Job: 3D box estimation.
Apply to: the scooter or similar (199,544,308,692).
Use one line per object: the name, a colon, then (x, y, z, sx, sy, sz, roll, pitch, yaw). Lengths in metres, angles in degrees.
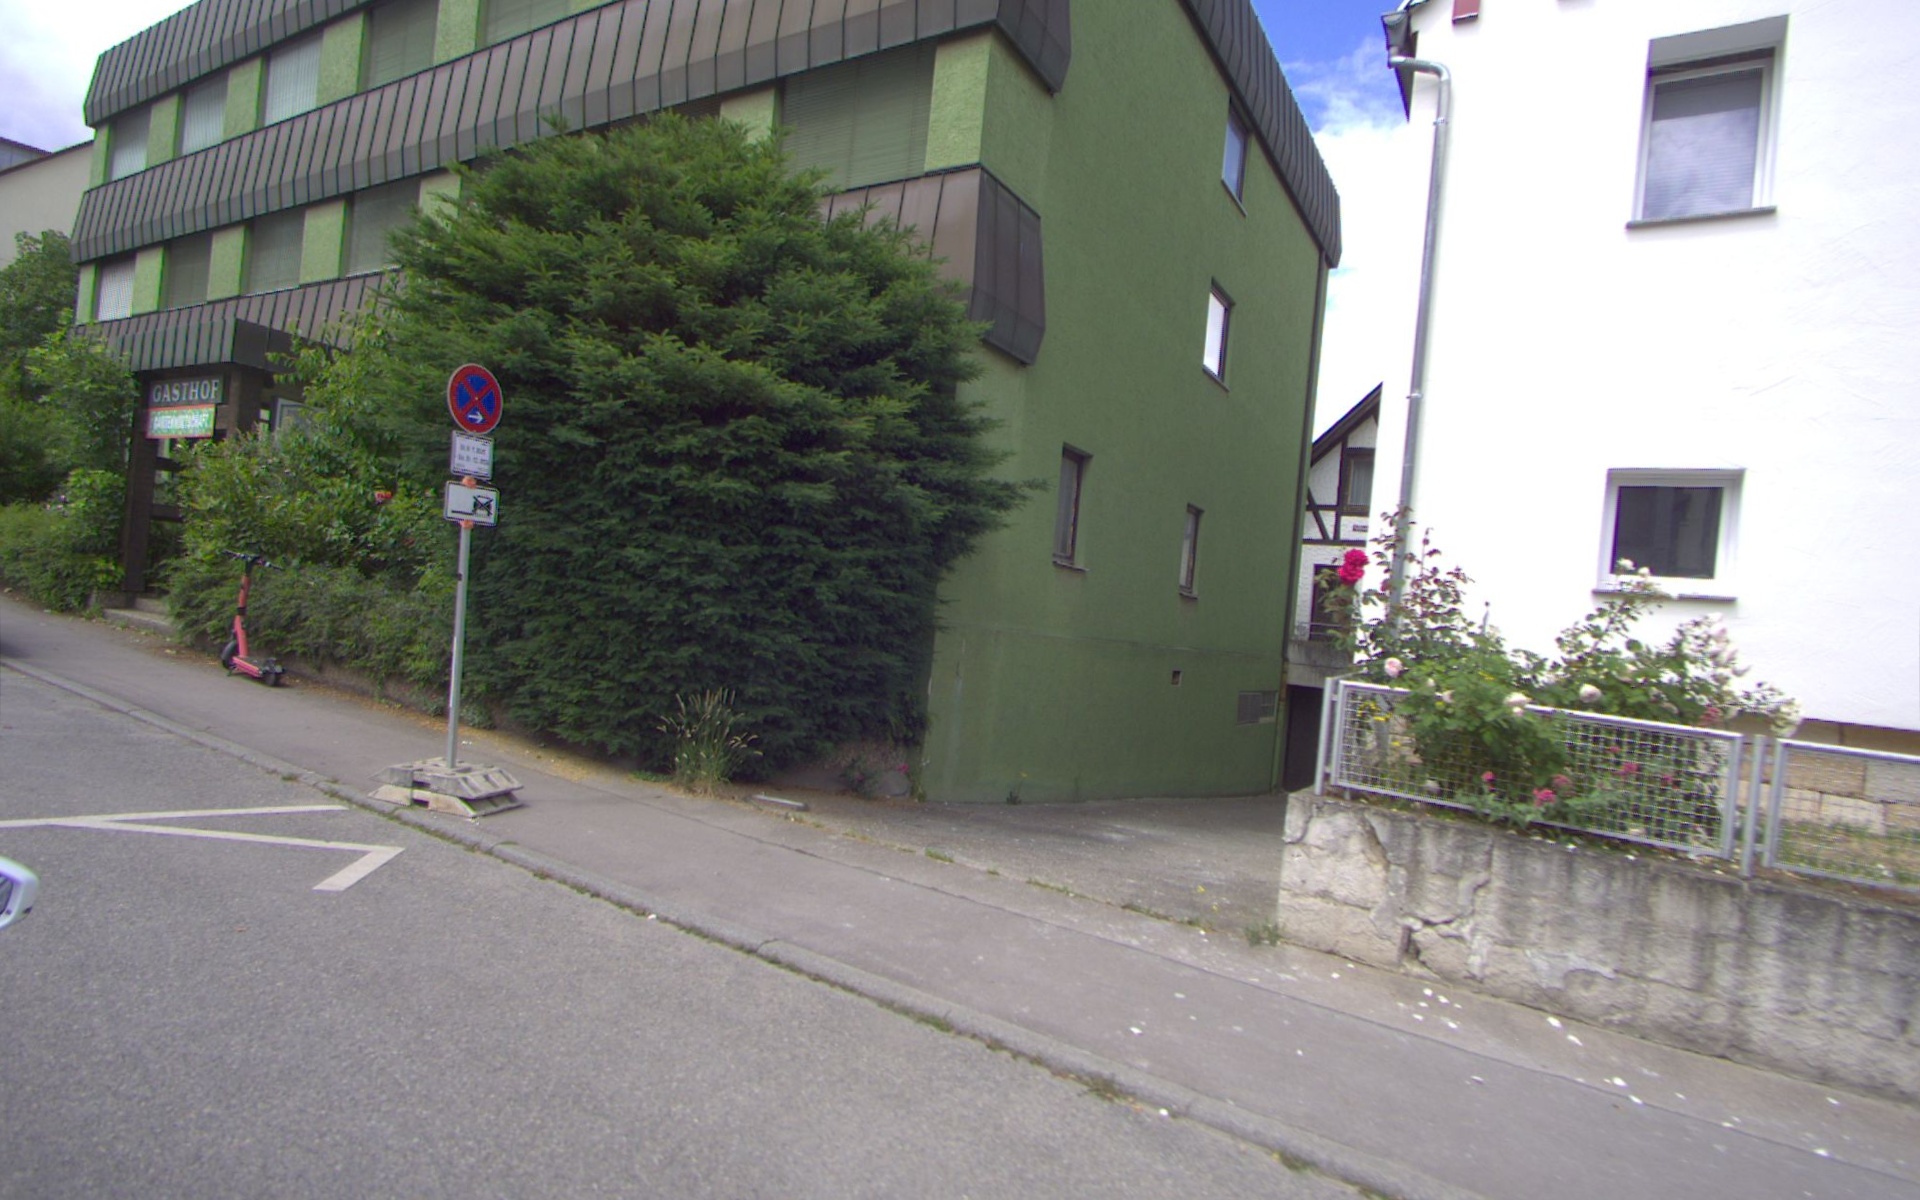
scooter or similar: (-7.099, 0.159, 10.092, 1.381, 1.322, 0.301, 7, 2, 32)
